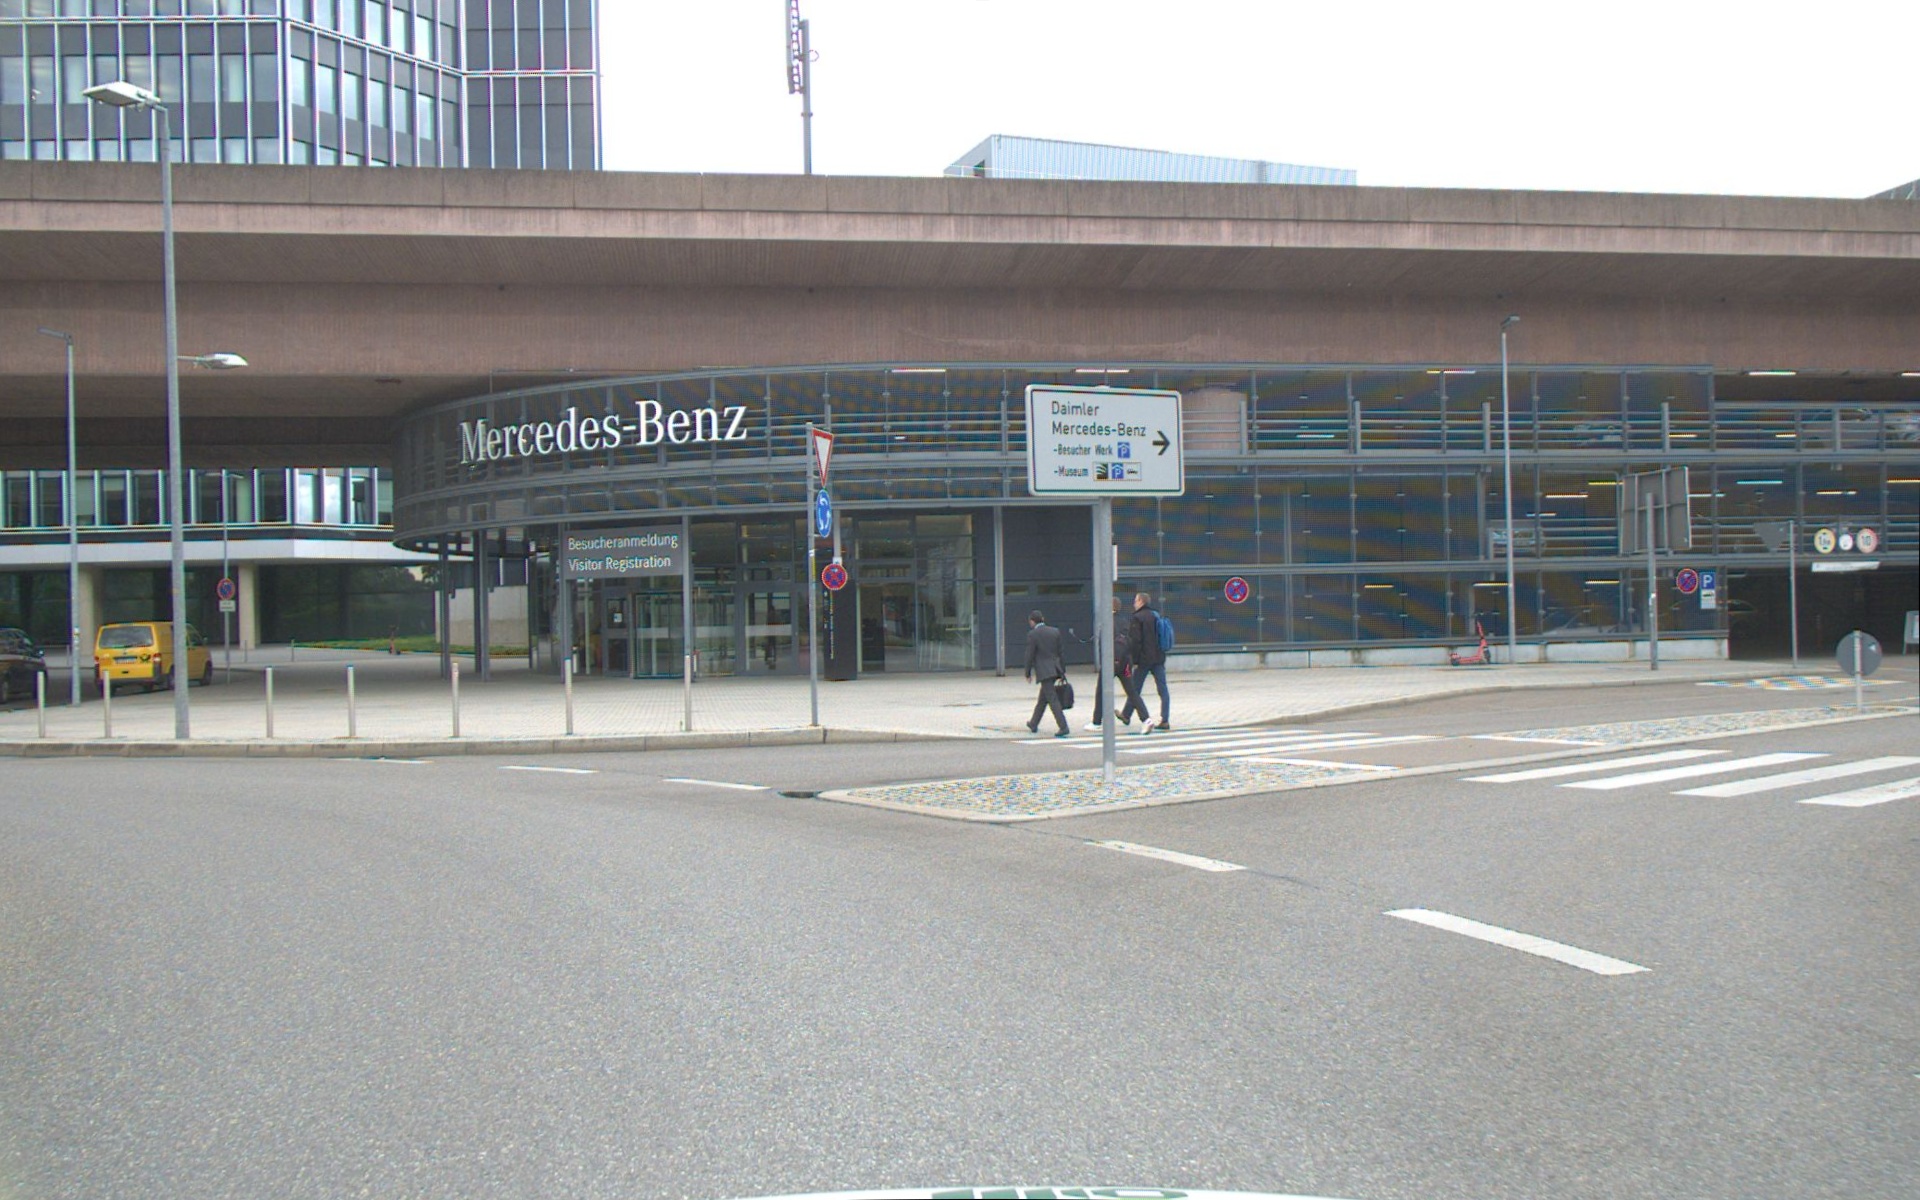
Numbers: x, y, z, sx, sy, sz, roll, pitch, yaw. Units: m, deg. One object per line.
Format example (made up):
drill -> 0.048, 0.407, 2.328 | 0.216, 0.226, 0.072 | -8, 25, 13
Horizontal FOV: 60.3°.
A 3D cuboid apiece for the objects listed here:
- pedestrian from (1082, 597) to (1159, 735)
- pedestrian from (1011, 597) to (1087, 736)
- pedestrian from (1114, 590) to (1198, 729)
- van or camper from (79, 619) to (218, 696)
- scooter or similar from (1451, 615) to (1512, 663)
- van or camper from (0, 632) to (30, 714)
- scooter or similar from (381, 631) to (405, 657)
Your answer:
pedestrian -> 2.055, 0.832, 21.288 | 0.771, 1.735, 0.770 | 0, 0, -14
pedestrian -> 1.130, 0.831, 21.123 | 0.846, 1.735, 0.771 | 0, 0, -6
pedestrian -> 2.632, 0.780, 22.237 | 0.850, 1.830, 0.778 | 0, 0, -21
van or camper -> -23.112, 1.580, 47.309 | 2.311, 2.034, 4.496 | 0, 0, -9
scooter or similar -> 12.653, 0.936, 40.156 | 1.397, 1.143, 0.380 | 0, 0, -10
van or camper -> -25.254, 1.826, 42.255 | 2.119, 1.926, 4.865 | 0, 0, -24
scooter or similar -> -25.136, 1.945, 73.309 | 0.691, 1.124, 1.485 | 0, 0, -32
